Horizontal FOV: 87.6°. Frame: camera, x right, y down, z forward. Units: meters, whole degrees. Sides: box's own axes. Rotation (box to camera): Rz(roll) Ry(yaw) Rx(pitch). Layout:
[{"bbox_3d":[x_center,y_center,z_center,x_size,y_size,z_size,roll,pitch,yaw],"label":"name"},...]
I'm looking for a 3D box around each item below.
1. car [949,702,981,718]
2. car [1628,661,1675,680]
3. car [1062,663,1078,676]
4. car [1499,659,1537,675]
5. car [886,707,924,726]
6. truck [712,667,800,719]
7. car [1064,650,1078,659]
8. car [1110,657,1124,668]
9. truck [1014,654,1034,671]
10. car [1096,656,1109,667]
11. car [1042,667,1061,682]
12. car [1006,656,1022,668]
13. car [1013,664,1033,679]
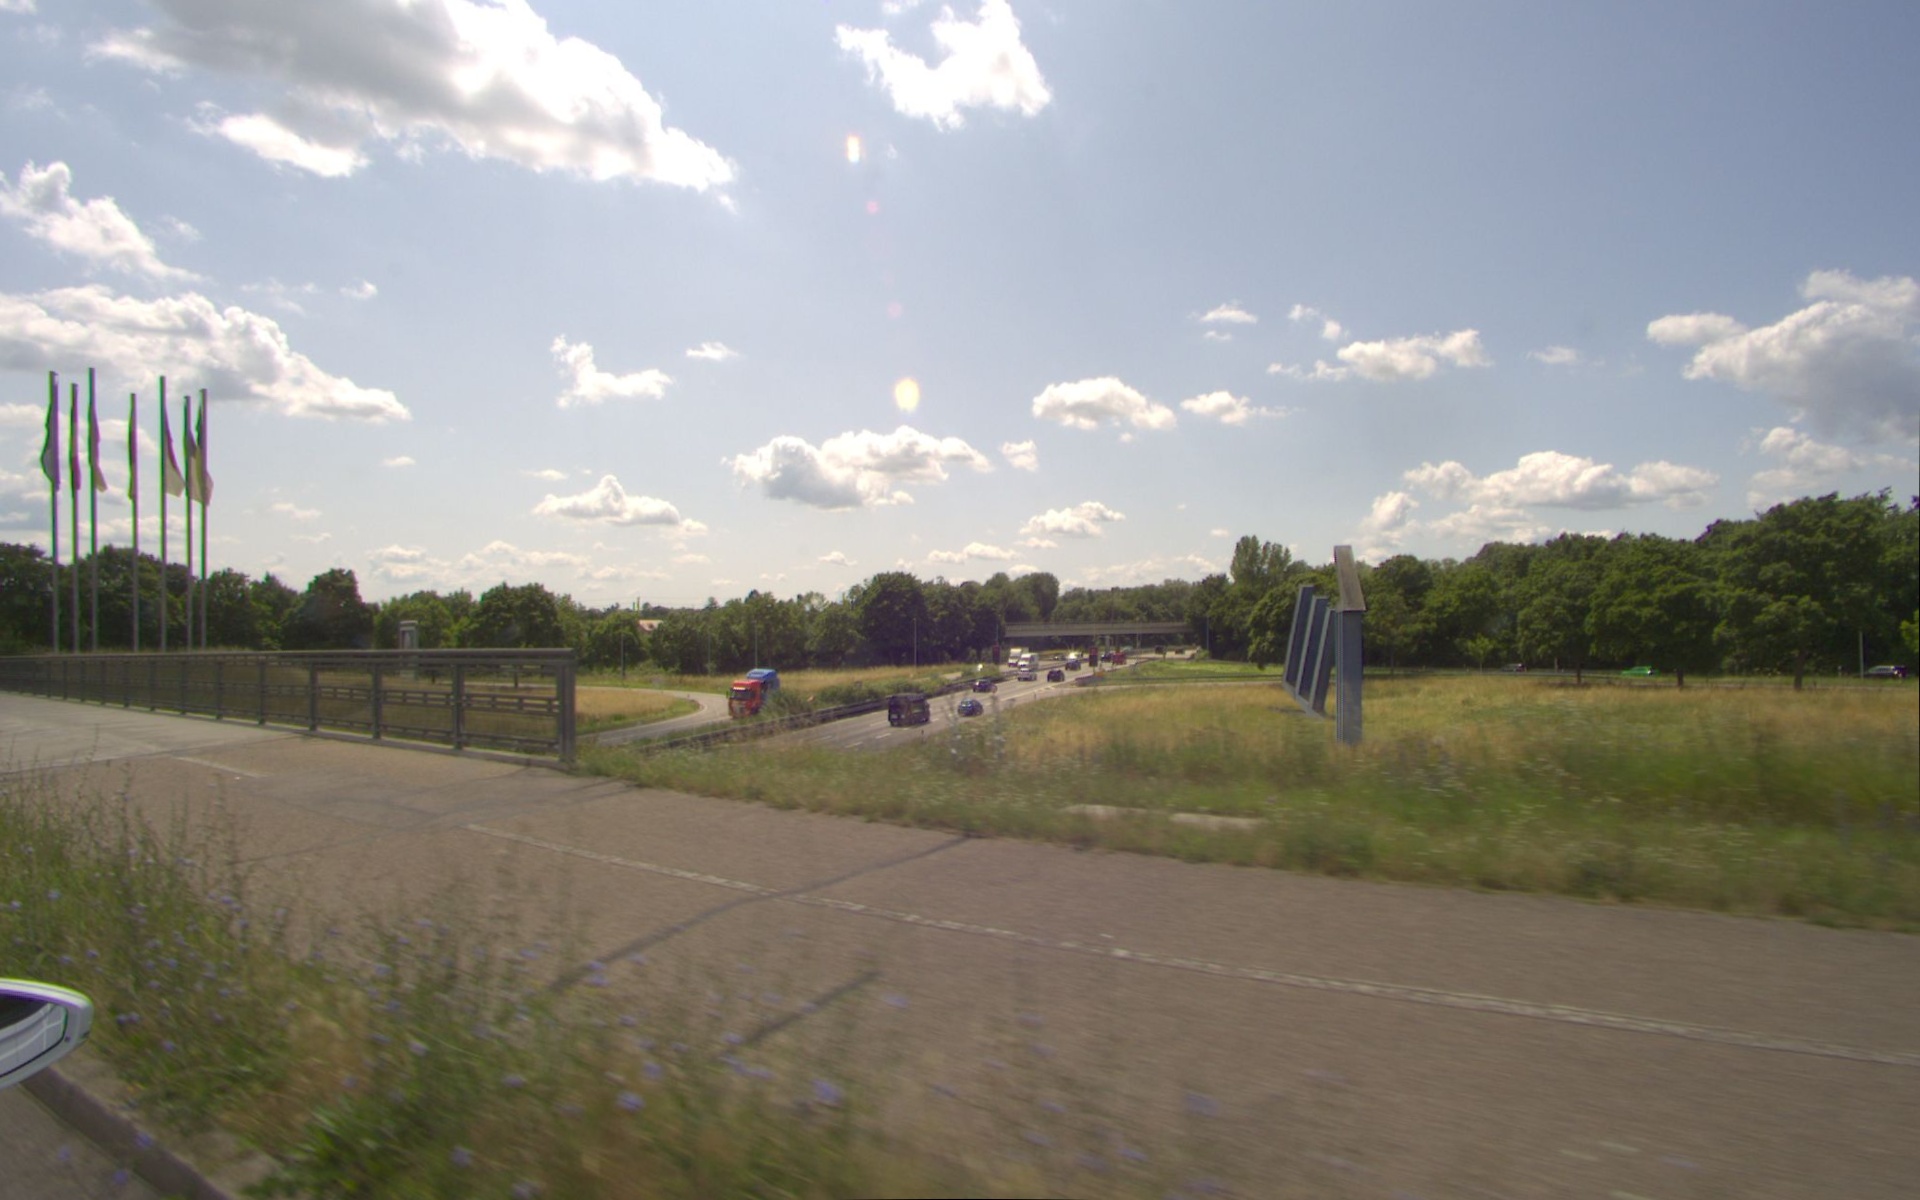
[{"bbox_3d":[0.493,10.384,94.735,1.964,1.304,3.996,0,-3,18],"label":"car"},{"bbox_3d":[77.132,7.853,111.724,1.964,1.905,3.997,1,-3,-14],"label":"car"},{"bbox_3d":[18.306,11.504,166.305,1.963,2.038,3.998,0,-3,16],"label":"car"},{"bbox_3d":[71.106,8.560,127.700,1.964,1.905,3.997,1,-3,-14],"label":"car"},{"bbox_3d":[-4.727,10.045,86.449,1.964,1.304,3.996,0,-3,18],"label":"car"},{"bbox_3d":[-19.402,8.793,96.106,3.946,4.458,9.622,0,-3,19],"label":"truck"},{"bbox_3d":[22.283,10.922,200.406,1.964,1.765,3.996,0,-3,18],"label":"car"},{"bbox_3d":[29.032,11.525,185.012,1.963,2.038,3.998,0,-3,16],"label":"car"},{"bbox_3d":[11.055,10.756,172.476,1.963,2.735,6.615,0,-3,16],"label":"truck"},{"bbox_3d":[27.322,11.856,192.193,1.963,2.038,3.998,0,-3,16],"label":"car"},{"bbox_3d":[12.874,10.398,140.437,1.963,2.038,3.998,0,-3,16],"label":"car"},{"bbox_3d":[9.672,11.074,179.312,1.963,2.038,3.998,0,-3,16],"label":"car"},{"bbox_3d":[8.957,10.102,141.971,1.963,2.038,3.998,0,-3,16],"label":"car"}]
